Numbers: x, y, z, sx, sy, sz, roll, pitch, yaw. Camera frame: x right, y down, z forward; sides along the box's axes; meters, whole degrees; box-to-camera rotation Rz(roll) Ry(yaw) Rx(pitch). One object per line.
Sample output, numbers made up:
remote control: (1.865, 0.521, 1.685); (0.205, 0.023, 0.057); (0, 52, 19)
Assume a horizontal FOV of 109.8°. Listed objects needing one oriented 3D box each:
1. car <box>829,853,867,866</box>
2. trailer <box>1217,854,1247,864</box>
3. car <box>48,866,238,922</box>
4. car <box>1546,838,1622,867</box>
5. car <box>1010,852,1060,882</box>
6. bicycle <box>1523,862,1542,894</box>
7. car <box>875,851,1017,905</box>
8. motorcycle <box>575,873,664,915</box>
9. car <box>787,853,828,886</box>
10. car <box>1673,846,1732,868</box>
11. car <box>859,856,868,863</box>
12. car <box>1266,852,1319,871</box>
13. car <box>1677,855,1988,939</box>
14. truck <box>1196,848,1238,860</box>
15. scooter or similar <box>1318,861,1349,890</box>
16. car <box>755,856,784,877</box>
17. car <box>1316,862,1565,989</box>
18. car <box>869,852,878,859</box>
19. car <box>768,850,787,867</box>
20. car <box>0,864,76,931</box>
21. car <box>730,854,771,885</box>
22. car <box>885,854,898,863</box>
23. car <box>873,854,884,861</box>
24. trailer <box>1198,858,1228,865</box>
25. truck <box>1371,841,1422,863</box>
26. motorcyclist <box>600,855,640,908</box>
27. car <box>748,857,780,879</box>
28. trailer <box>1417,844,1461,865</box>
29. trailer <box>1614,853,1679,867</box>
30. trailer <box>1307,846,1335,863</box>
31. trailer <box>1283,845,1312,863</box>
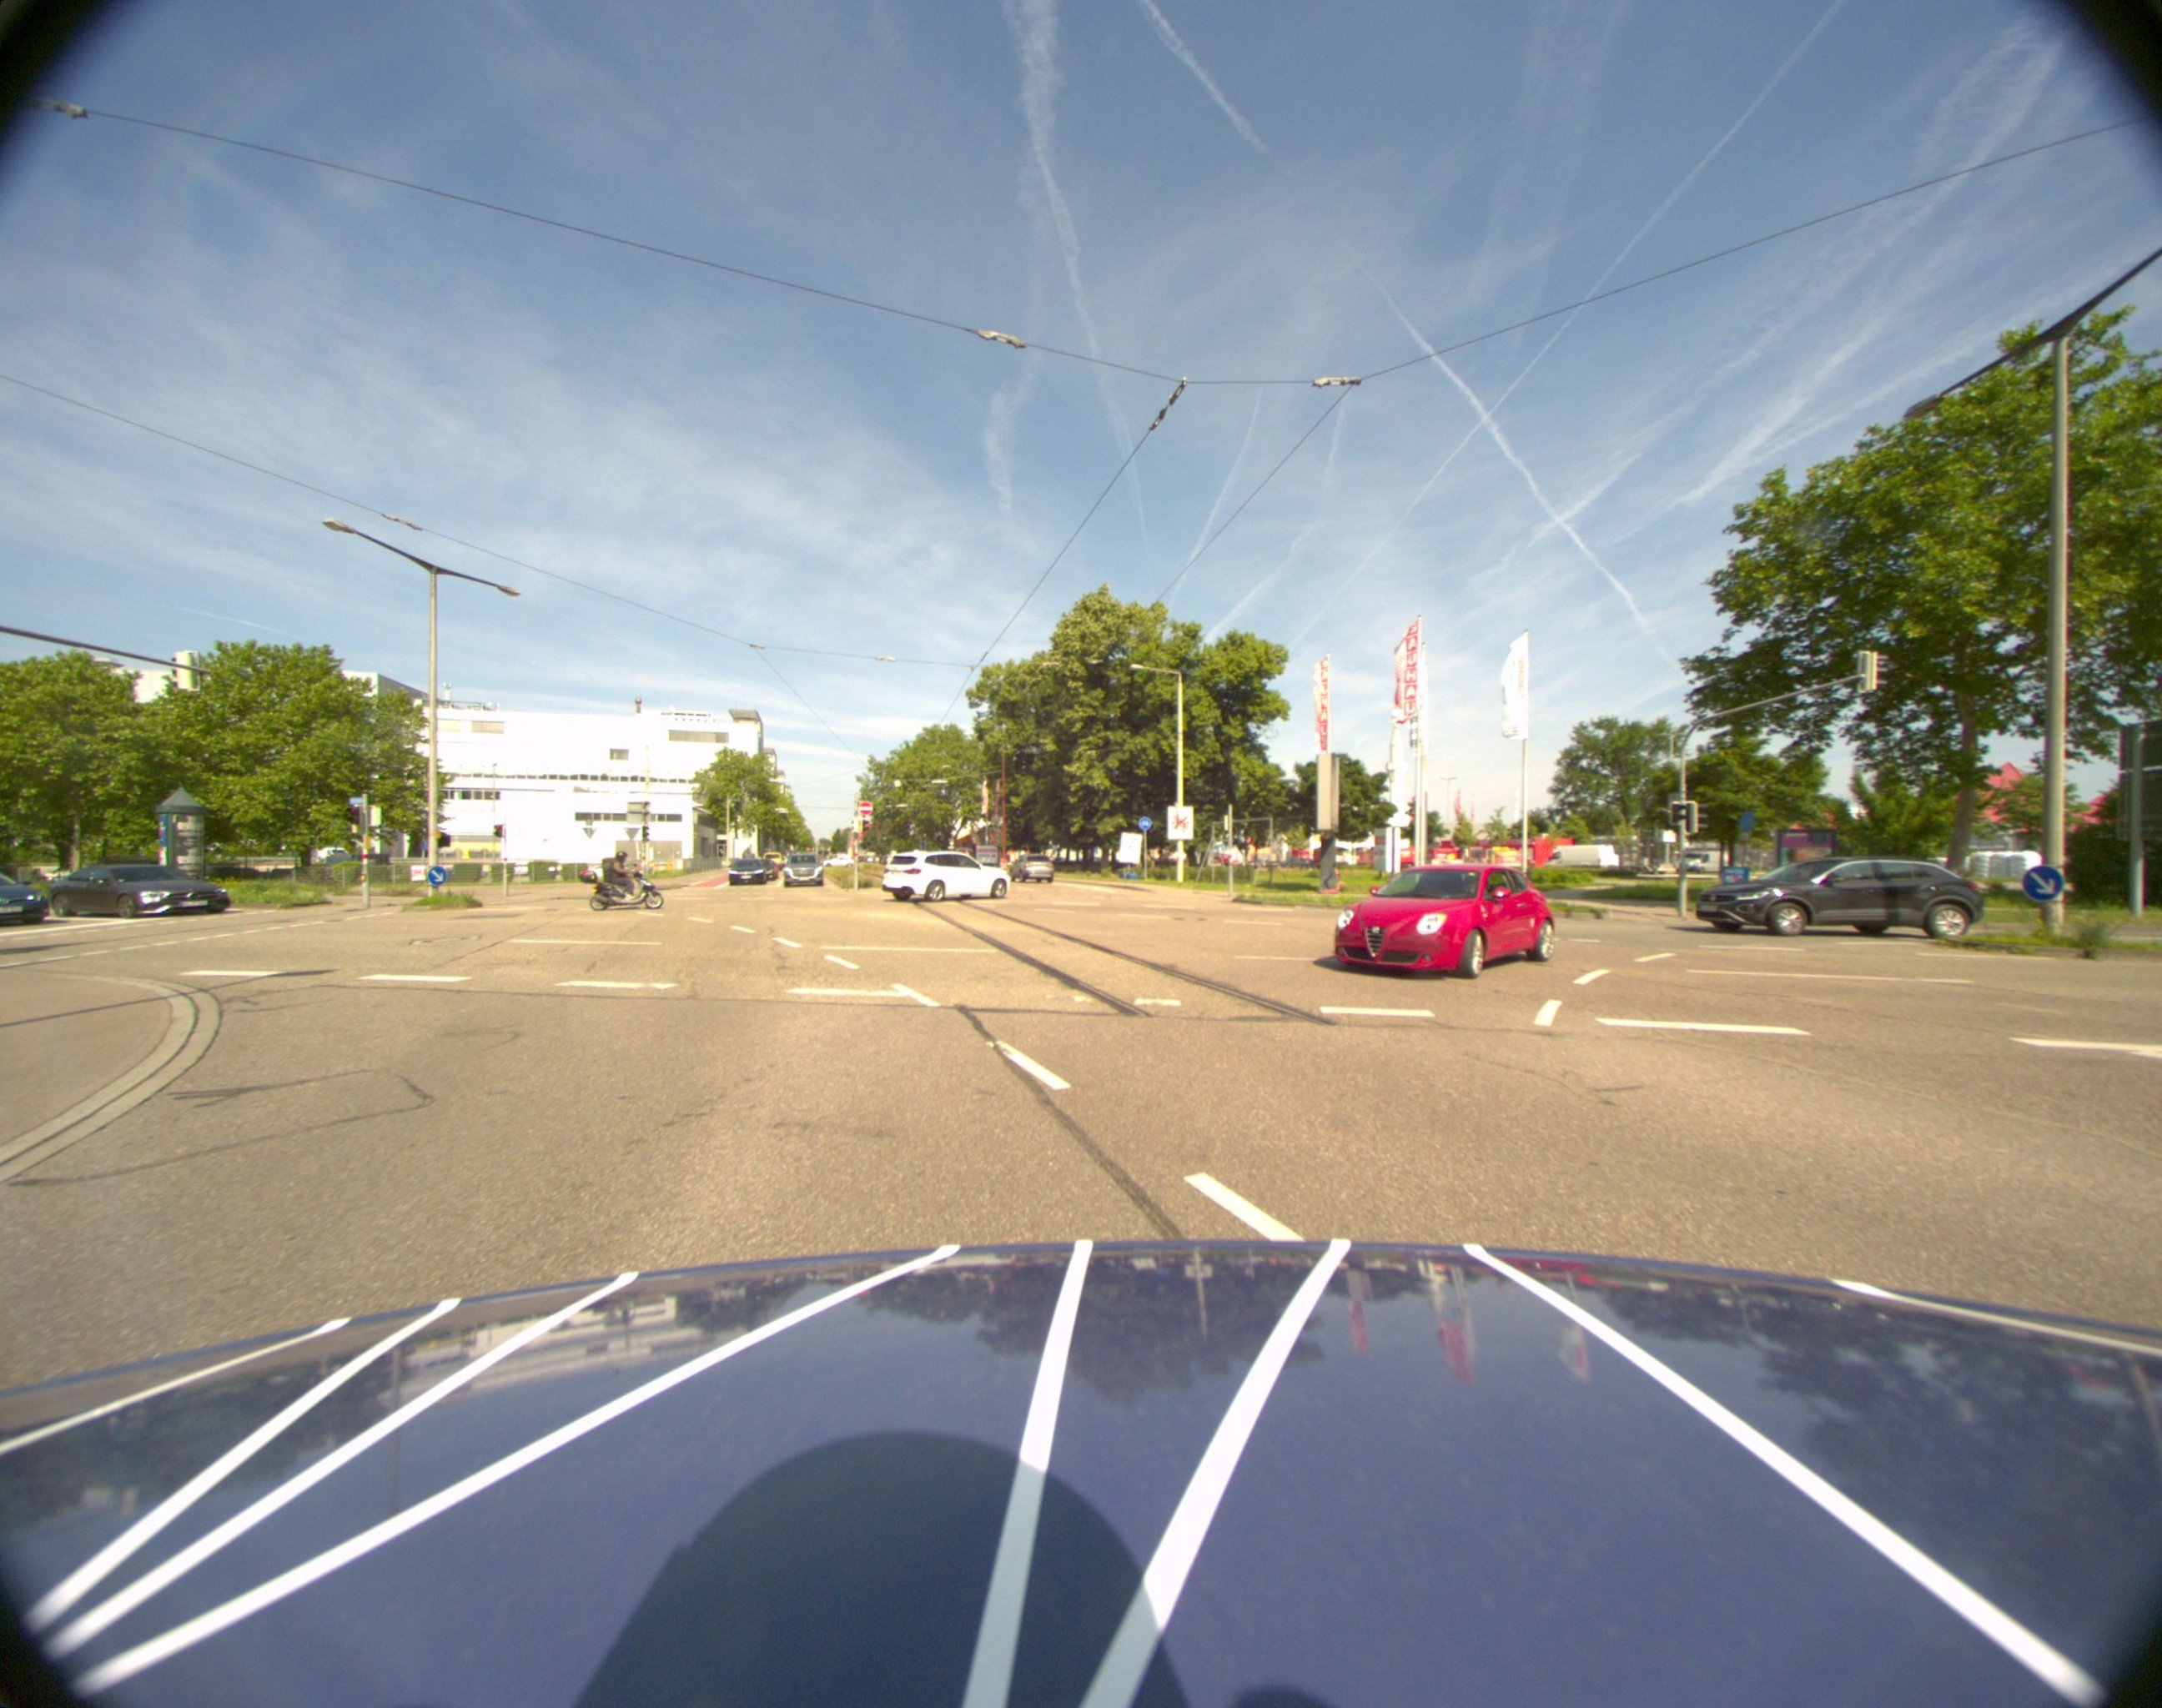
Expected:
car: (-31.555, 0.773, 102.719); (4.633, 1.679, 1.911); (0, 0, -27)
trailer: (19.353, 0.660, 97.451); (1.593, 1.279, 4.403); (0, 0, -23)
car: (-26.099, 1.060, 21.161); (4.463, 1.371, 1.722); (0, 2, 17)
car: (46.611, -0.154, 70.598); (2.021, 2.527, 5.678); (-2, 1, -22)
car: (-2.715, 0.685, 43.907); (1.998, 1.641, 4.649); (0, 0, -15)
bicycle: (16.924, 0.867, 28.455); (0.502, 1.102, 1.795); (0, 2, 35)
car: (-4.505, 0.737, 26.002); (1.910, 1.679, 4.636); (0, 0, 39)
motorcycle: (-12.725, 1.079, 21.042); (2.046, 1.076, 0.735); (0, 1, -27)
car: (-14.536, 0.765, 40.379); (1.918, 1.679, 4.618); (0, 0, -20)
car: (54.660, 0.254, 66.828); (4.836, 1.805, 1.871); (1, 1, -22)
car: (-50.645, 1.339, 176.933); (1.853, 1.501, 4.336); (0, 0, -19)
car: (18.131, 0.629, 65.262); (4.052, 1.578, 1.728); (0, 0, -12)
car: (14.772, 0.812, 15.195); (4.074, 1.536, 1.877); (0, 0, 11)
truck: (20.787, 0.030, 115.829); (6.011, 1.820, 2.185); (1, -2, -19)
scooter or similar: (9.988, 0.841, 30.098); (1.121, 1.120, 0.426); (0, 1, 15)
car: (-23.285, 0.904, 56.972); (1.783, 1.435, 4.618); (0, 0, -20)
car: (5.080, 0.872, 10.518); (3.917, 1.429, 1.655); (2, -2, -40)
car: (-50.729, 0.384, 185.578); (1.853, 1.501, 4.336); (0, 0, -19)
car: (-33.055, 0.490, 82.892); (1.783, 1.799, 4.618); (0, 0, -20)
car: (-27.254, 1.042, 18.533); (3.992, 1.552, 1.857); (0, 0, 14)
car: (-19.296, 0.853, 44.527); (1.918, 1.679, 4.618); (0, 0, -20)
car: (-33.950, 0.814, 135.809); (1.853, 1.501, 4.336); (0, 0, -19)
car: (-42.776, 0.724, 160.368); (1.853, 1.501, 4.336); (0, 0, -19)
trailer: (16.603, 0.934, 95.873); (2.101, 0.777, 4.405); (0, 0, -15)
truck: (38.173, -0.228, 92.032); (6.037, 2.594, 2.015); (0, 0, -22)
motorcyclist: (-12.734, 0.748, 21.022); (0.874, 1.438, 0.735); (-1, 1, -27)
car: (-21.571, 0.928, 51.867); (1.783, 1.435, 4.618); (0, 0, -20)
trailer: (40.899, 0.032, 86.859); (4.415, 2.363, 1.749); (0, 1, -16)
trailer: (48.550, 0.503, 65.342); (2.070, 1.116, 4.025); (-2, 1, -18)
trailer: (32.487, 0.035, 102.865); (1.552, 2.344, 4.405); (0, 1, -14)
trailer: (29.232, -0.010, 102.563); (1.592, 2.363, 4.404); (0, 1, -17)
